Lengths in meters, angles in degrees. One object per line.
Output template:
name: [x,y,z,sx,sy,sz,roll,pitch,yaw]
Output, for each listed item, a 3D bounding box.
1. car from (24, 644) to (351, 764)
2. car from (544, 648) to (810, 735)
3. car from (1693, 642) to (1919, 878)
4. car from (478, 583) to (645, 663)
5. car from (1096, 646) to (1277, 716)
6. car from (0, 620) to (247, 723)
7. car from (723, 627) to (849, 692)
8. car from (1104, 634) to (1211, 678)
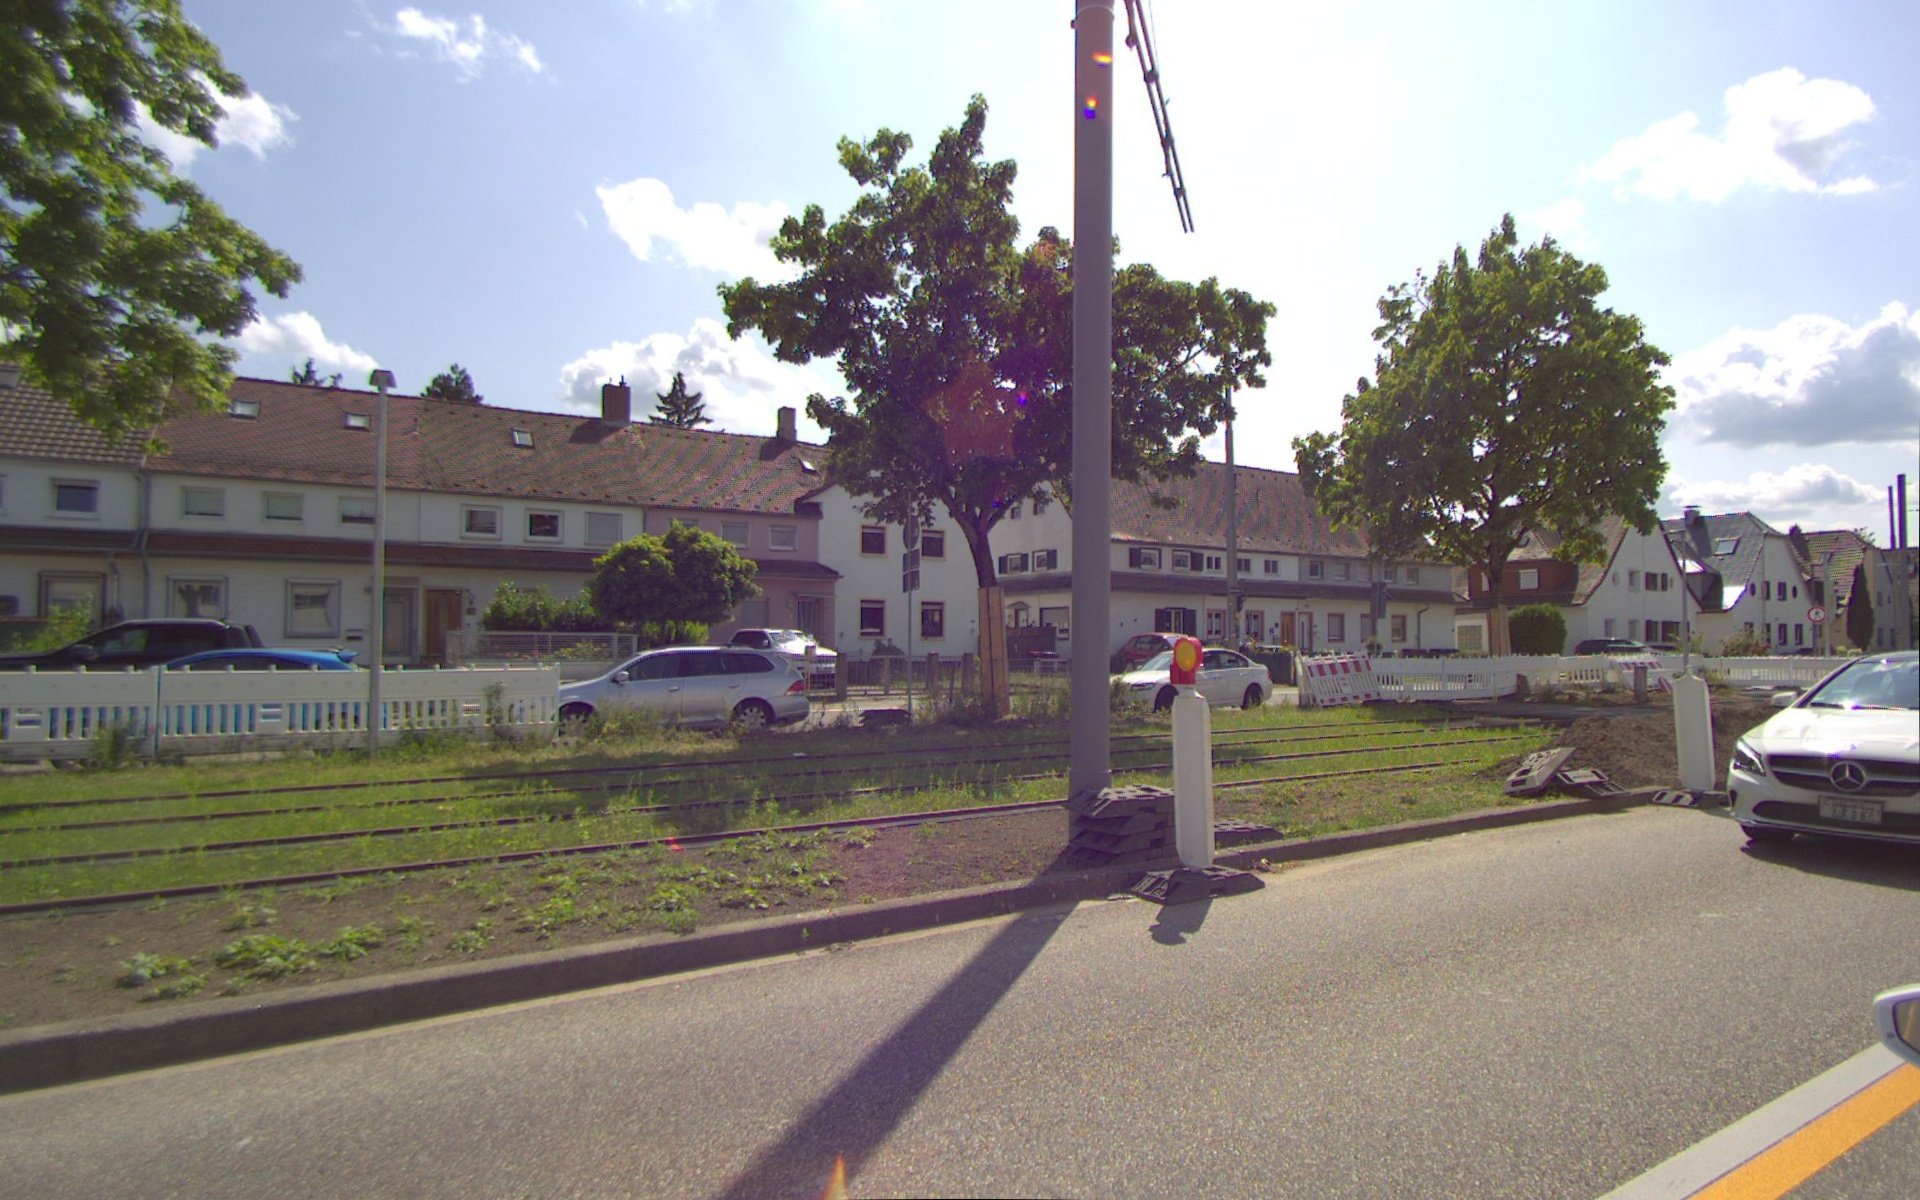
car: [-9.615,1.240,12.788,3.137,1.342,1.332,2,-3,-34]
car: [-4.314,1.337,15.470,3.705,1.192,1.495,2,-3,-31]
car: [7.481,1.076,7.562,4.037,1.455,1.736,2,-4,-31]
car: [-10.930,0.649,27.609,3.955,2.040,1.983,2,-1,-32]
car: [5.015,1.711,21.983,4.212,1.394,1.530,2,-3,-37]
car: [-13.405,1.110,16.114,3.058,1.515,1.349,2,-3,-32]
car: [-5.342,1.736,30.415,1.785,1.708,4.369,2,-1,-40]
car: [7.271,2.060,37.332,1.707,1.529,3.966,1,-3,-31]
